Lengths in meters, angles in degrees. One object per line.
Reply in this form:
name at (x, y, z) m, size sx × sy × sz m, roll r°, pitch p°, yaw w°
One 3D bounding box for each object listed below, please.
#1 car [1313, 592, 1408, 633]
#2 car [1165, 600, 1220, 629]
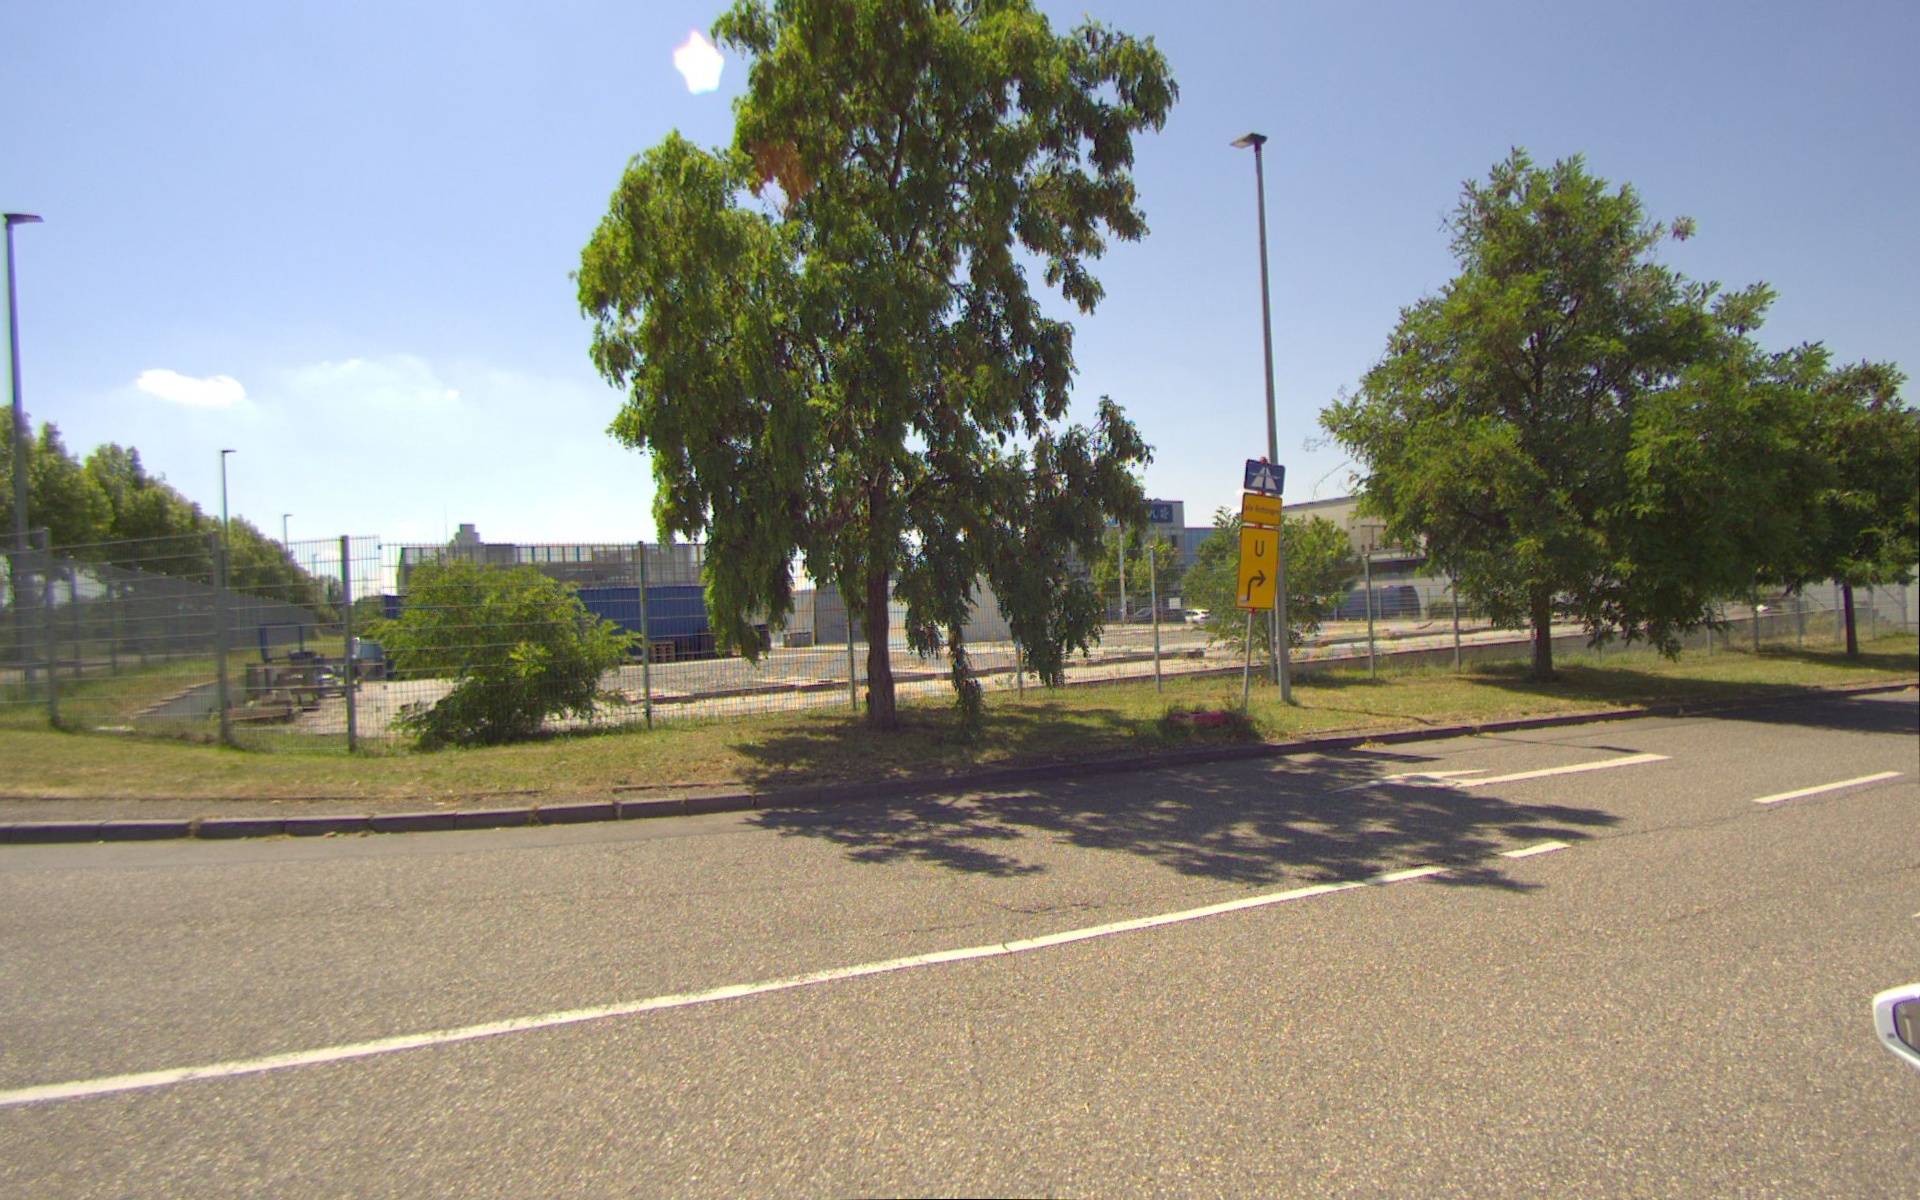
car at (24.616, 0.772, 61.878) m, size 2.106 × 2.303 × 5.220 m, roll -4°, pitch 2°, yaw -29°
car at (17.708, 1.092, 76.678) m, size 1.946 × 2.040 × 3.972 m, roll -4°, pitch 2°, yaw -27°
